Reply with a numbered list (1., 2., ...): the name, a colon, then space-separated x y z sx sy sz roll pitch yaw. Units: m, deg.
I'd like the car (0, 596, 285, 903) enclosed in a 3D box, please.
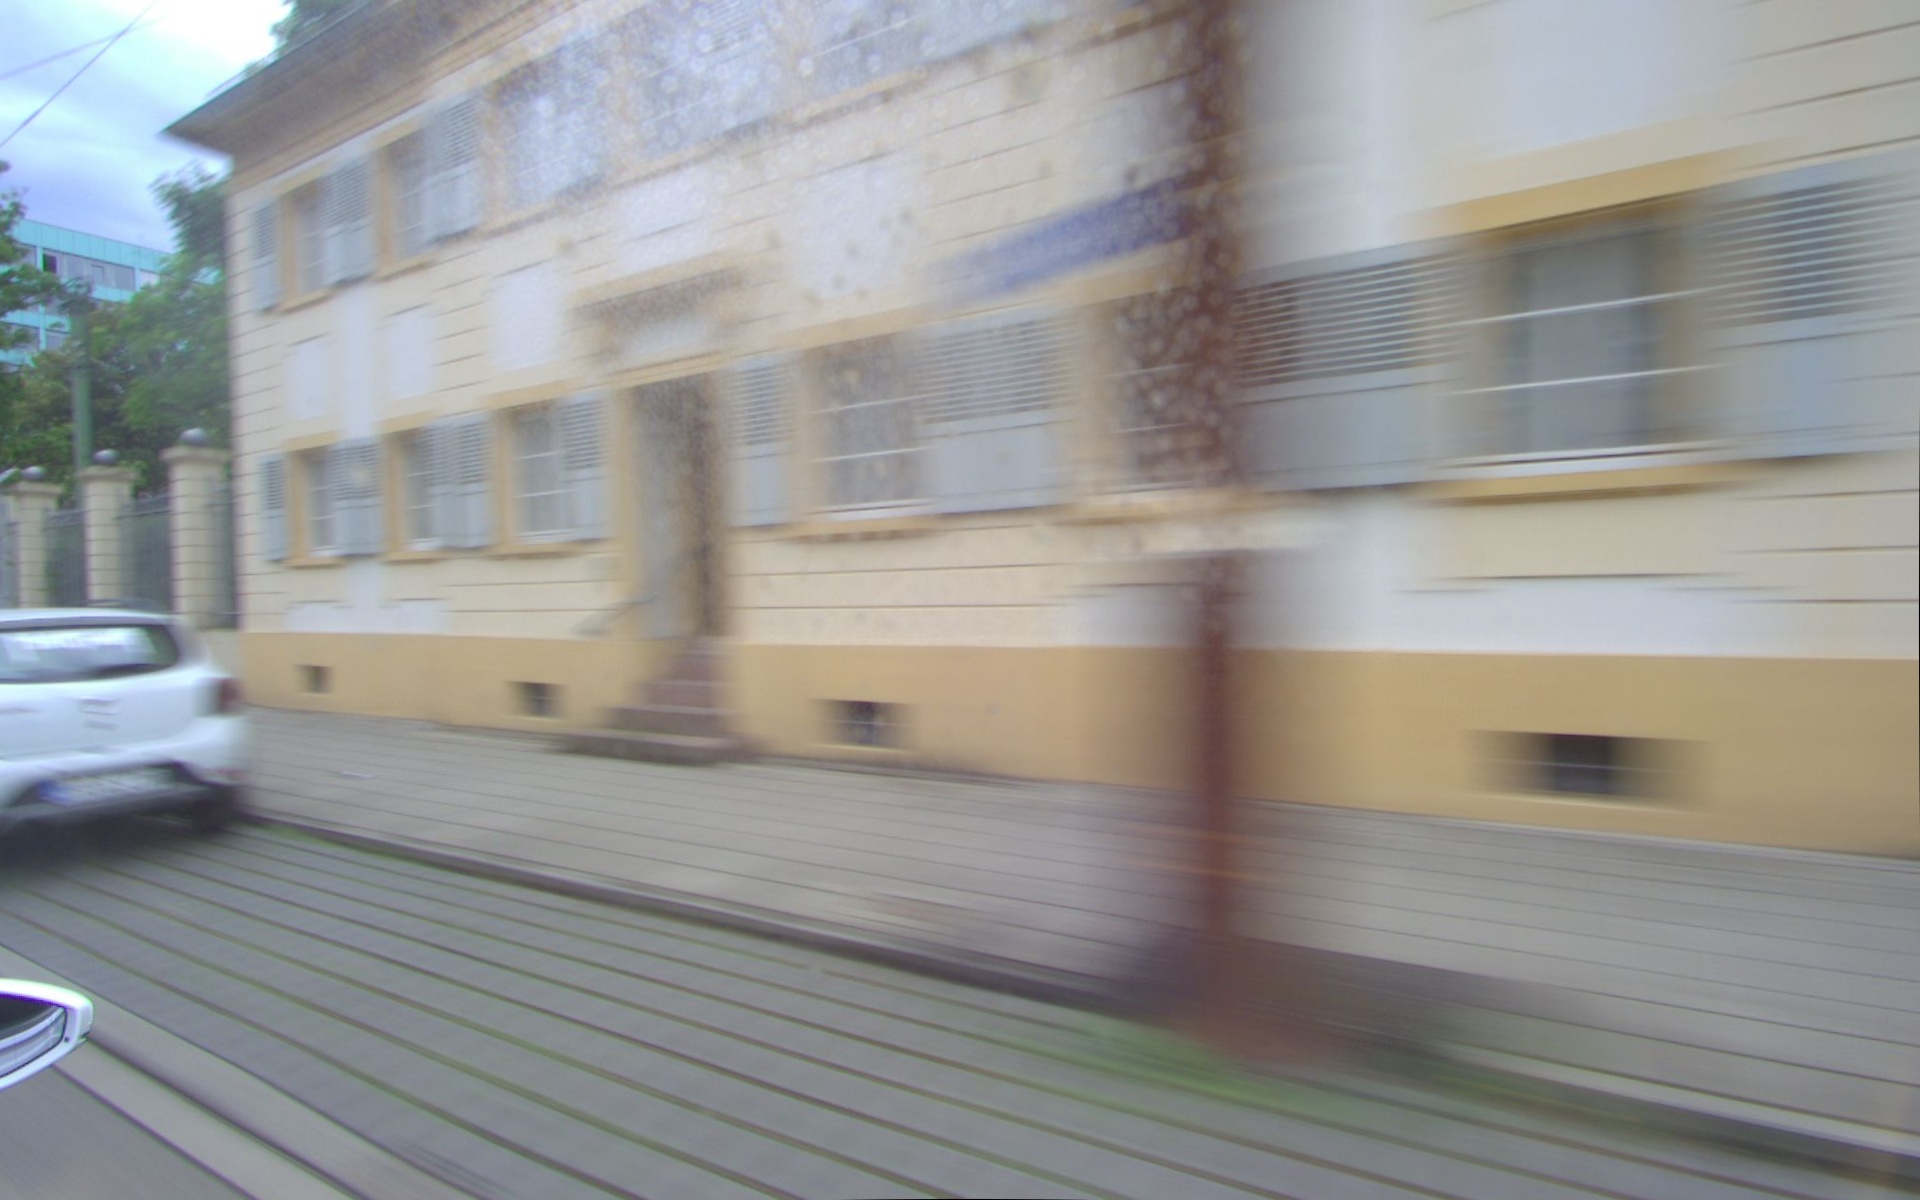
1. car: -6.557 0.822 6.831 3.874 1.596 1.750 0 3 32
